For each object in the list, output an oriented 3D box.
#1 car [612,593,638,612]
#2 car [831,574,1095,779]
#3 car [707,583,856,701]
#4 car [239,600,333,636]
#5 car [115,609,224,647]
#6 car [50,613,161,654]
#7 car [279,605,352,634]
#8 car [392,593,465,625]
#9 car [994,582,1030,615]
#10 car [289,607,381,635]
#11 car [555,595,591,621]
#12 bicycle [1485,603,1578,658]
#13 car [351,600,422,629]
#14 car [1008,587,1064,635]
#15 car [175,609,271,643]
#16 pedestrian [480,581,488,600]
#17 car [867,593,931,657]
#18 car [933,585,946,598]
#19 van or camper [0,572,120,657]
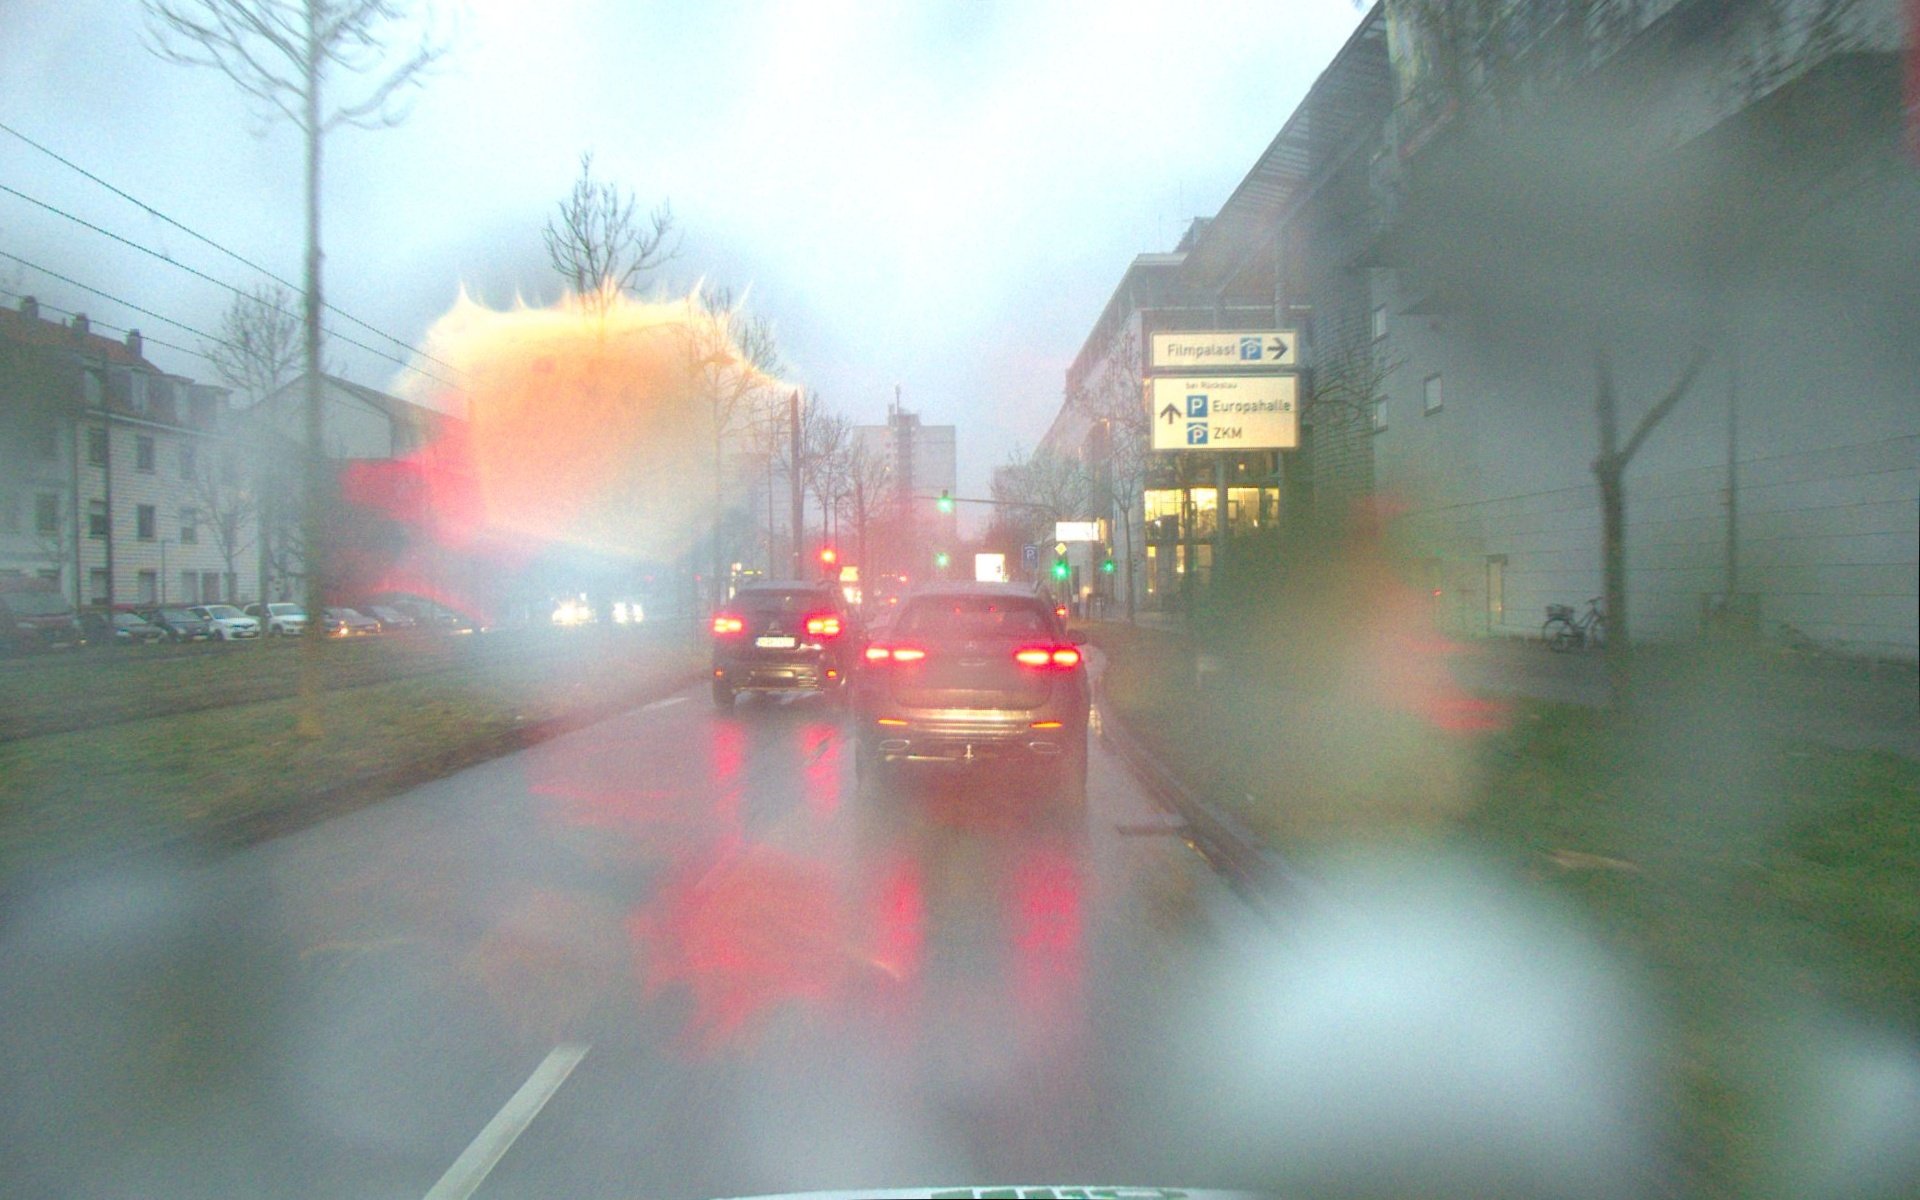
[{"bbox_3d":[-30.808,0.209,152.259,1.894,1.625,3.724,1,0,-4],"label":"car"},{"bbox_3d":[-0.001,0.570,14.211,1.953,1.509,3.699,1,0,-1],"label":"car"},{"bbox_3d":[-2.396,0.519,23.033,1.781,1.476,3.998,1,0,-3],"label":"car"},{"bbox_3d":[-27.904,0.721,68.467,4.042,1.402,1.766,1,0,36],"label":"car"},{"bbox_3d":[-27.874,0.971,58.292,3.464,1.221,1.878,1,0,31],"label":"car"},{"bbox_3d":[-28.487,1.098,55.136,3.464,1.233,1.744,1,0,31],"label":"car"},{"bbox_3d":[-27.943,0.847,71.694,2.978,1.167,1.394,1,0,30],"label":"car"},{"bbox_3d":[-28.190,0.464,87.715,3.717,1.583,1.738,1,0,32],"label":"car"},{"bbox_3d":[2.445,-0.090,78.612,1.590,1.524,3.526,1,0,0],"label":"car"},{"bbox_3d":[-28.165,0.928,74.469,4.098,1.135,1.678,1,0,30],"label":"car"},{"bbox_3d":[-25.459,0.494,108.967,1.581,1.651,3.508,1,0,-1],"label":"car"},{"bbox_3d":[11.777,0.631,34.095,1.772,1.070,0.396,-2,0,-3],"label":"bicycle"},{"bbox_3d":[-28.388,0.696,81.867,3.691,1.360,1.448,0,1,35],"label":"car"},{"bbox_3d":[2.603,0.359,56.653,1.828,1.570,3.611,1,0,2],"label":"car"},{"bbox_3d":[-27.619,0.971,61.959,3.345,1.167,1.688,1,0,31],"label":"car"},{"bbox_3d":[-29.781,-0.587,103.519,0.343,1.205,0.428,1,0,-41],"label":"pedestrian"},{"bbox_3d":[-1.630,0.646,45.289,1.655,1.664,3.473,1,0,-1],"label":"car"},{"bbox_3d":[-2.388,-1.018,193.532,1.516,1.535,3.387,1,0,0],"label":"car"},{"bbox_3d":[-28.120,0.372,49.758,6.737,2.401,1.994,1,0,33],"label":"van or camper"}]
